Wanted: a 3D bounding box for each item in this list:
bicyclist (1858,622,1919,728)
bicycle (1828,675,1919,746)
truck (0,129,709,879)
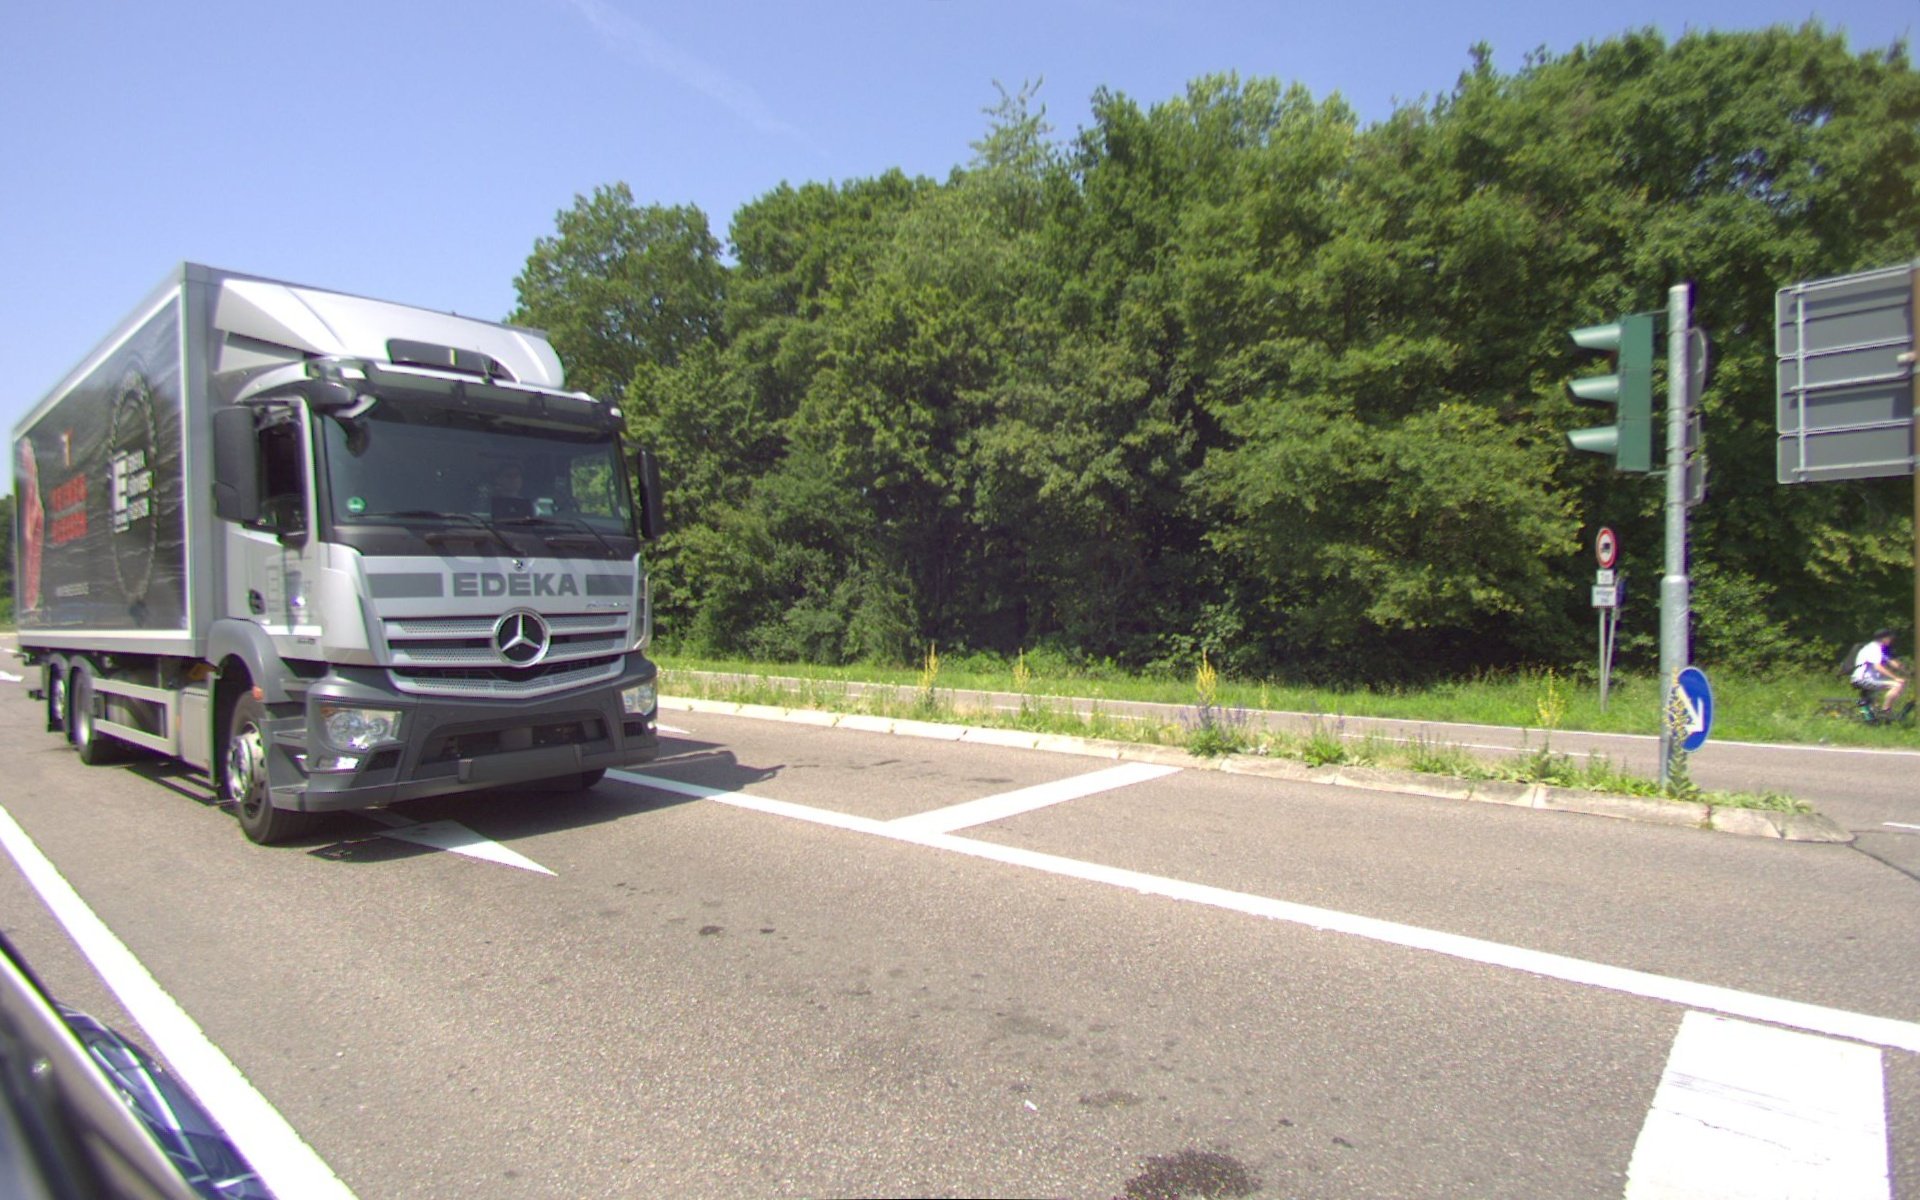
[{"bbox_3d":[13.440,1.053,14.457,0.651,1.476,0.811,2,-2,-39],"label":"bicyclist"},{"bbox_3d":[13.472,1.579,14.401,0.558,0.930,1.608,1,-2,-39],"label":"bicycle"},{"bbox_3d":[-7.029,-0.444,9.995,11.312,3.914,2.718,-1,0,40],"label":"truck"}]
